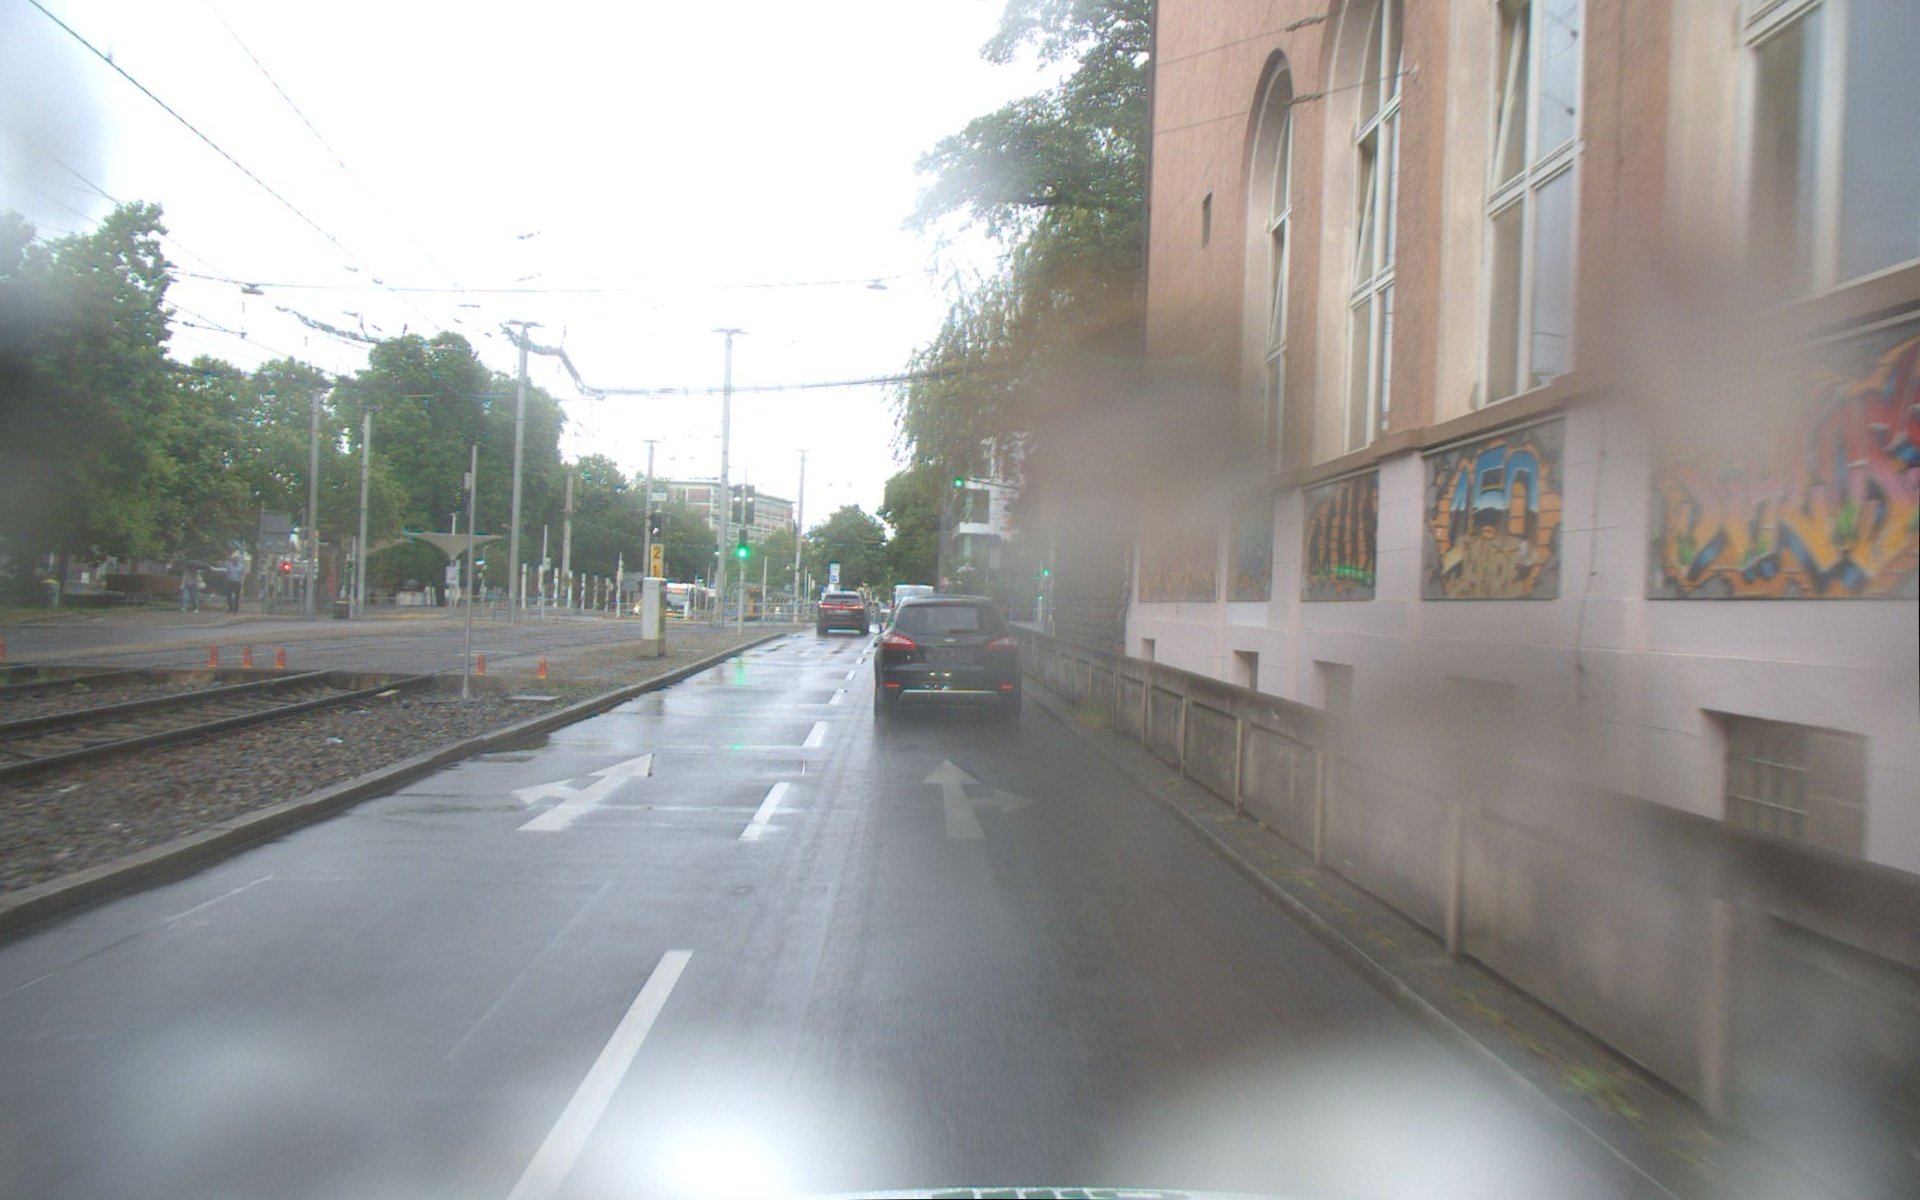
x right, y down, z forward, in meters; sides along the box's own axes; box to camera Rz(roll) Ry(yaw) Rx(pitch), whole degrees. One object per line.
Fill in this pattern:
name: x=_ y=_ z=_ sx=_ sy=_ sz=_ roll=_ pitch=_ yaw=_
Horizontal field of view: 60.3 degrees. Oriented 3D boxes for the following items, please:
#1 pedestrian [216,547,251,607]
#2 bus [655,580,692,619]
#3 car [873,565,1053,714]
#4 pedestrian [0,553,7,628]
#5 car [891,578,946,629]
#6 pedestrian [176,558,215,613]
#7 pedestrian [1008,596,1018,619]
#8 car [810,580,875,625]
pedestrian: x=-24.112 y=-0.771 z=54.912 sx=0.900 sy=1.895 sz=0.994 roll=4 pitch=-1 yaw=-27
bus: x=-26.618 y=-0.029 z=154.072 sx=3.019 sy=3.358 sz=12.498 roll=1 pitch=0 yaw=-8
car: x=-0.031 y=0.445 z=21.063 sx=1.995 sy=1.612 sz=4.390 roll=2 pitch=0 yaw=-2
pedestrian: x=-21.201 y=-0.232 z=35.656 sx=0.949 sy=1.621 sz=0.586 roll=4 pitch=-1 yaw=-20
car: x=-1.626 y=0.132 z=65.551 sx=1.994 sy=1.872 sz=4.392 roll=2 pitch=0 yaw=0
pedestrian: x=-23.957 y=-0.458 z=51.825 sx=0.989 sy=1.621 sz=0.905 roll=4 pitch=-1 yaw=-28
pedestrian: x=3.582 y=0.519 z=112.817 sx=0.530 sy=1.590 sz=0.521 roll=1 pitch=-1 yaw=18
car: x=-4.223 y=0.096 z=60.282 sx=2.056 sy=1.532 sz=4.731 roll=1 pitch=0 yaw=-1
